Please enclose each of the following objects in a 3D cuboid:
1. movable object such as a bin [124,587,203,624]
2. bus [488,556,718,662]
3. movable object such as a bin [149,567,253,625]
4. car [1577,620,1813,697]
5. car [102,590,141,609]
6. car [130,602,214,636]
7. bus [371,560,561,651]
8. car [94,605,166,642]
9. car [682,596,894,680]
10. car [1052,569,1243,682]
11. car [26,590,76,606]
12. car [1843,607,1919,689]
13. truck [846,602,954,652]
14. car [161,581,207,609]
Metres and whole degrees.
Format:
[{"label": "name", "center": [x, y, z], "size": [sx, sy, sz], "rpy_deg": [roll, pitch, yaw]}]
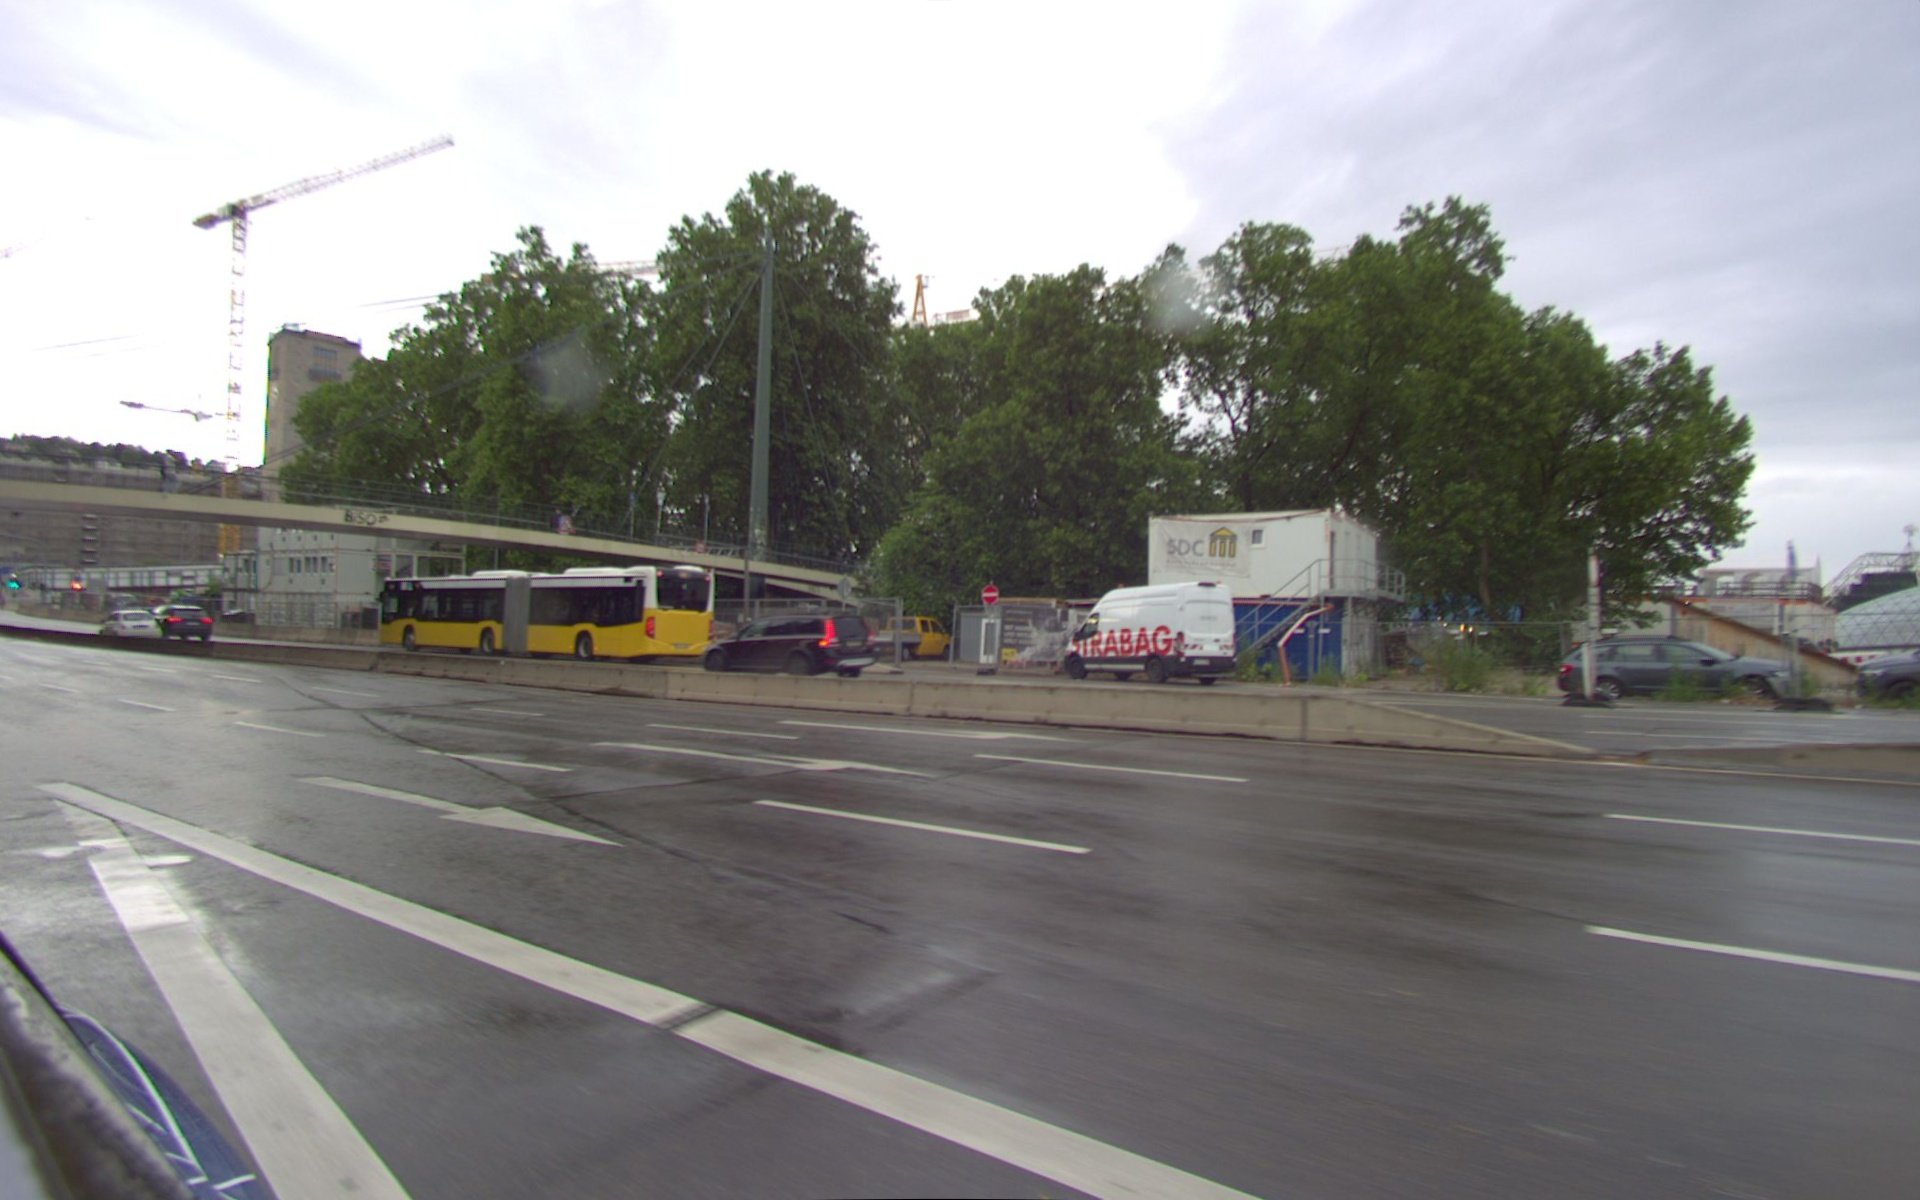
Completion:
[{"label": "movable object such as a bin", "center": [-74.219, 0.539, 94.282], "size": [6.371, 3.152, 3.900], "rpy_deg": [2, -1, 34]}, {"label": "bus", "center": [-12.217, 0.281, 34.129], "size": [9.135, 3.175, 2.678], "rpy_deg": [0, -2, 37]}, {"label": "movable object such as a bin", "center": [-66.822, -0.363, 89.123], "size": [8.337, 4.839, 4.711], "rpy_deg": [2, -1, 34]}, {"label": "car", "center": [16.480, 1.258, 22.867], "size": [4.170, 1.577, 1.745], "rpy_deg": [-1, -2, 38]}, {"label": "car", "center": [-89.433, -0.066, 107.891], "size": [4.784, 1.775, 1.830], "rpy_deg": [2, -1, 34]}, {"label": "car", "center": [-39.033, 0.941, 50.096], "size": [4.844, 1.643, 2.062], "rpy_deg": [0, -2, 37]}, {"label": "bus", "center": [-19.422, 0.210, 39.522], "size": [8.788, 3.209, 2.781], "rpy_deg": [0, -2, 36]}, {"label": "car", "center": [-37.283, 1.062, 45.436], "size": [3.445, 1.500, 1.693], "rpy_deg": [1, -1, 37]}, {"label": "car", "center": [-4.100, 0.838, 23.737], "size": [4.923, 1.674, 2.021], "rpy_deg": [1, -1, 36]}, {"label": "car", "center": [5.170, 0.683, 29.023], "size": [1.965, 2.897, 6.072], "rpy_deg": [3, -1, -28]}, {"label": "car", "center": [-124.573, -0.308, 138.729], "size": [4.953, 2.029, 2.001], "rpy_deg": [2, -1, -2]}, {"label": "car", "center": [20.125, 0.992, 19.428], "size": [1.741, 1.577, 4.686], "rpy_deg": [3, -1, -45]}, {"label": "truck", "center": [-2.570, 1.203, 44.596], "size": [2.156, 2.029, 5.208], "rpy_deg": [1, -2, 31]}, {"label": "car", "center": [-91.970, -0.621, 119.870], "size": [6.150, 3.089, 2.256], "rpy_deg": [2, -1, 33]}]
